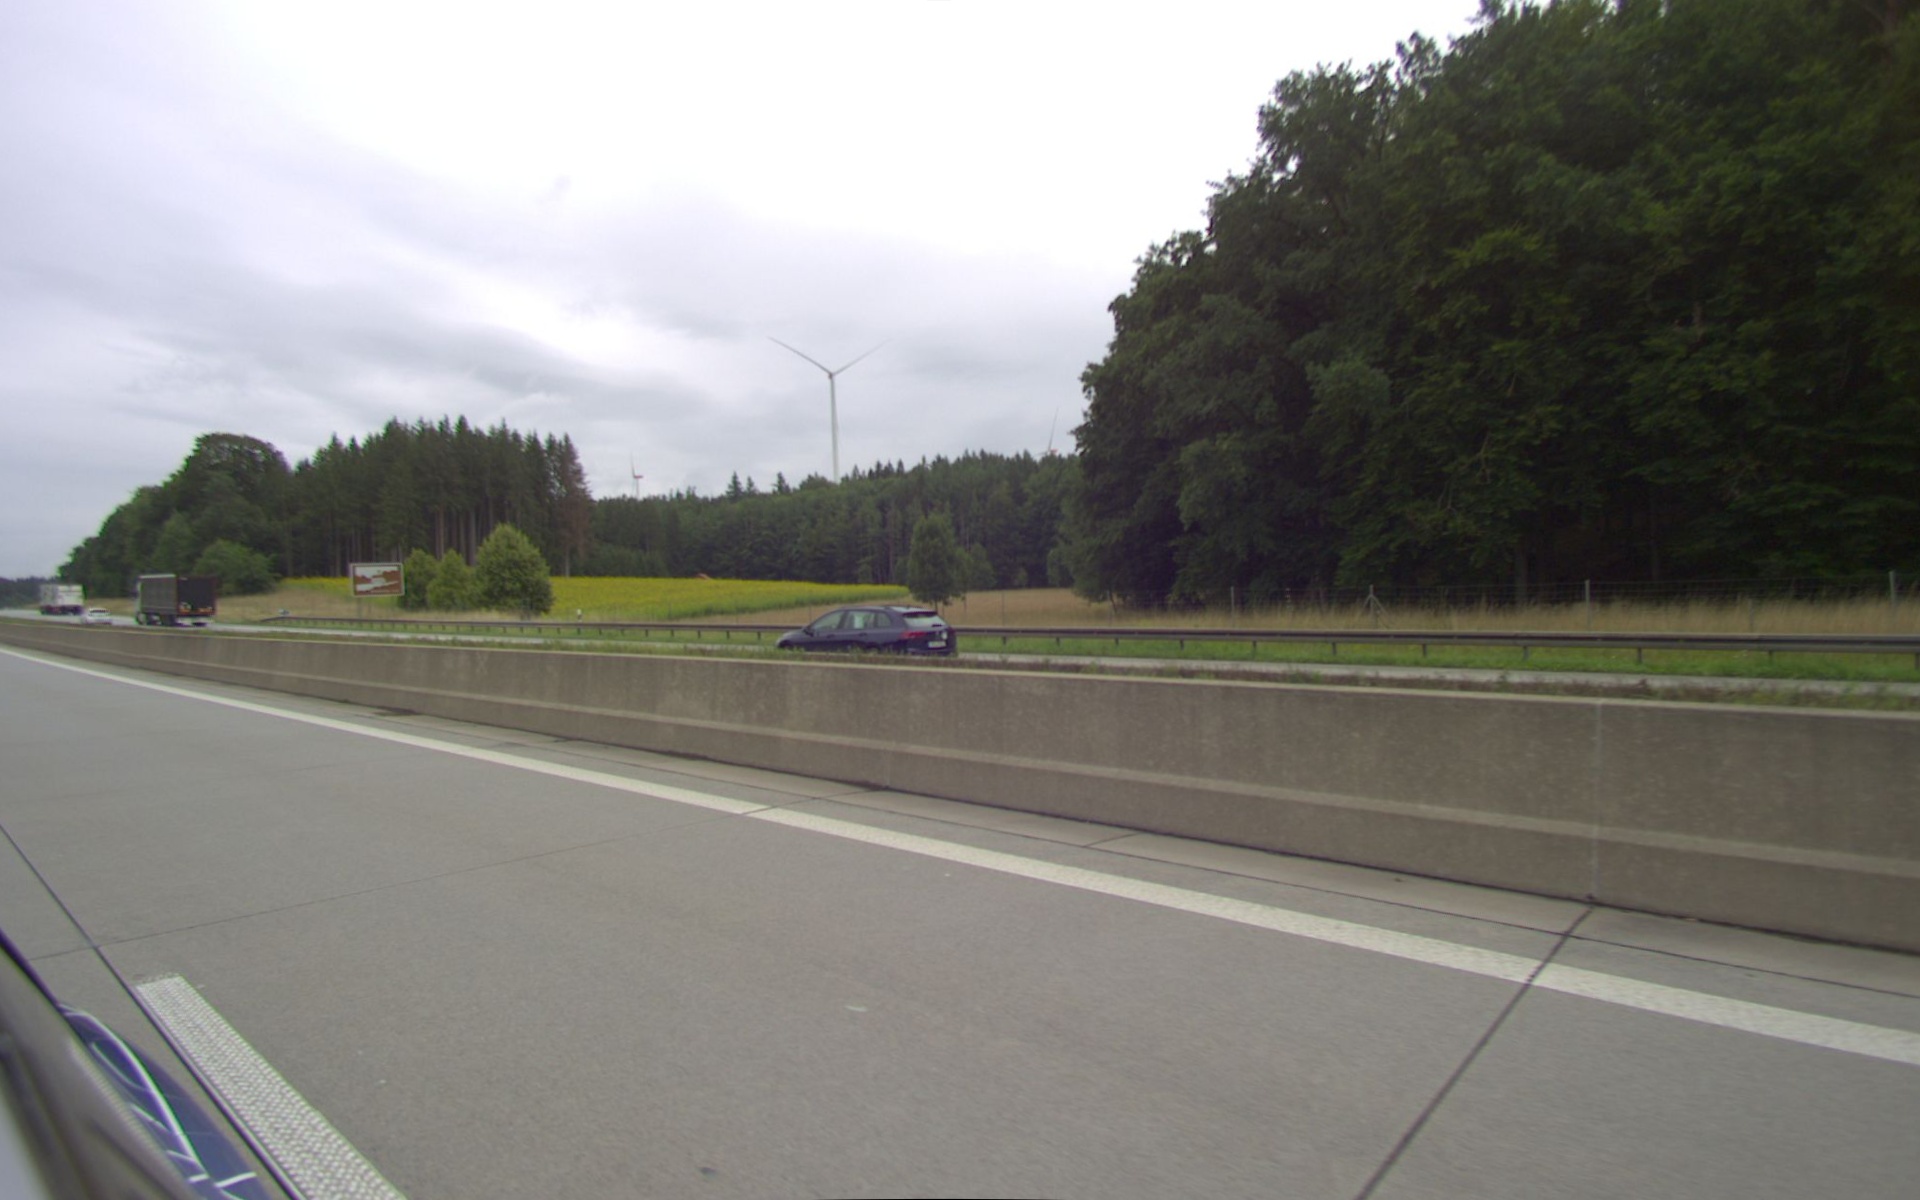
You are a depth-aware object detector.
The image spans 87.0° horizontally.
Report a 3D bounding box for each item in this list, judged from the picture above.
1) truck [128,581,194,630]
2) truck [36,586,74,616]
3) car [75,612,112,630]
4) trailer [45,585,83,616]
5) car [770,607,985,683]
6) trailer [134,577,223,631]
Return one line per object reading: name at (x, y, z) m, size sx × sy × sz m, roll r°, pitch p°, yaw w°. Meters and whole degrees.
truck at (-68.305, 0.472, 86.446) m, size 7.163 × 4.088 × 3.179 m, roll -1°, pitch 0°, yaw 42°
truck at (-121.555, 0.162, 135.863) m, size 11.351 × 3.801 × 2.782 m, roll 0°, pitch 0°, yaw 43°
car at (-72.712, 1.771, 84.911) m, size 4.369 × 1.479 × 1.765 m, roll -2°, pitch -1°, yaw 41°
trailer at (-114.539, 0.104, 129.330) m, size 7.715 × 3.811 × 2.788 m, roll -1°, pitch 0°, yaw 43°
car at (-1.791, 0.886, 21.083) m, size 4.432 × 1.387 × 1.829 m, roll -1°, pitch 0°, yaw 39°
trailer at (-63.756, 0.386, 82.367) m, size 14.126 × 4.083 × 3.201 m, roll -1°, pitch 0°, yaw 42°
